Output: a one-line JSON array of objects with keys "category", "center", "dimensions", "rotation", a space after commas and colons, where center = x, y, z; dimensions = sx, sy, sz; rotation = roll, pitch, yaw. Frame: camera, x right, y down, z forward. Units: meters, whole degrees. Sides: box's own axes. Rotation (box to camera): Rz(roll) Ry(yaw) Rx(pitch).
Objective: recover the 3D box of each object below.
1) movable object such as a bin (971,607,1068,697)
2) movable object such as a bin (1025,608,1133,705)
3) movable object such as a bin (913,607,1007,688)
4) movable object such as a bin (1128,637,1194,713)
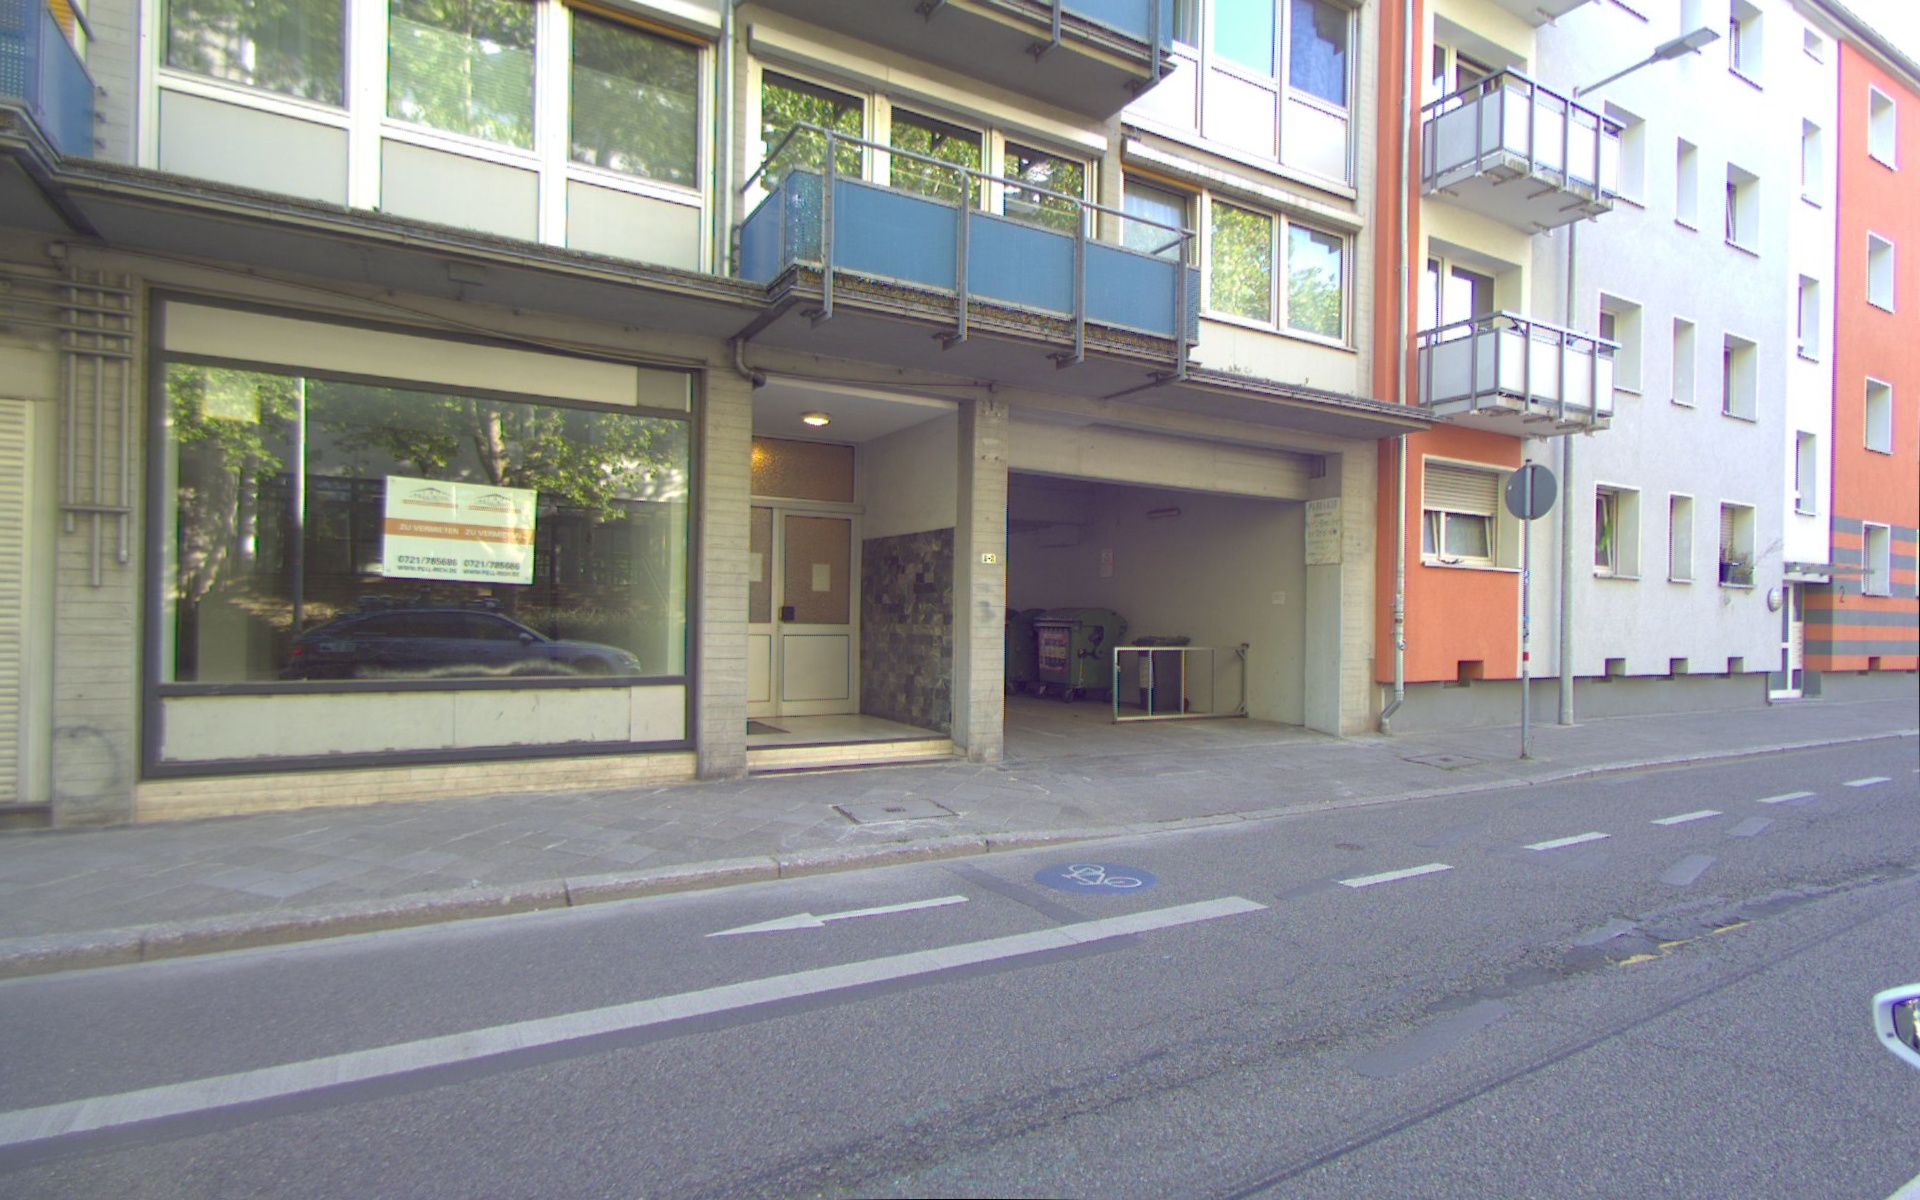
[{"category": "movable object such as a bin", "center": [1.007, 0.865, 17.187], "dimensions": [1.119, 1.449, 1.322], "rotation": [1, 0, -28]}, {"category": "movable object such as a bin", "center": [1.858, 0.859, 15.864], "dimensions": [1.128, 1.449, 1.342], "rotation": [1, 0, -28]}, {"category": "movable object such as a bin", "center": [-0.021, 0.862, 18.890], "dimensions": [1.119, 1.449, 1.666], "rotation": [1, 0, -28]}, {"category": "movable object such as a bin", "center": [2.908, 1.072, 14.545], "dimensions": [0.695, 1.055, 0.593], "rotation": [2, 0, -30]}]
